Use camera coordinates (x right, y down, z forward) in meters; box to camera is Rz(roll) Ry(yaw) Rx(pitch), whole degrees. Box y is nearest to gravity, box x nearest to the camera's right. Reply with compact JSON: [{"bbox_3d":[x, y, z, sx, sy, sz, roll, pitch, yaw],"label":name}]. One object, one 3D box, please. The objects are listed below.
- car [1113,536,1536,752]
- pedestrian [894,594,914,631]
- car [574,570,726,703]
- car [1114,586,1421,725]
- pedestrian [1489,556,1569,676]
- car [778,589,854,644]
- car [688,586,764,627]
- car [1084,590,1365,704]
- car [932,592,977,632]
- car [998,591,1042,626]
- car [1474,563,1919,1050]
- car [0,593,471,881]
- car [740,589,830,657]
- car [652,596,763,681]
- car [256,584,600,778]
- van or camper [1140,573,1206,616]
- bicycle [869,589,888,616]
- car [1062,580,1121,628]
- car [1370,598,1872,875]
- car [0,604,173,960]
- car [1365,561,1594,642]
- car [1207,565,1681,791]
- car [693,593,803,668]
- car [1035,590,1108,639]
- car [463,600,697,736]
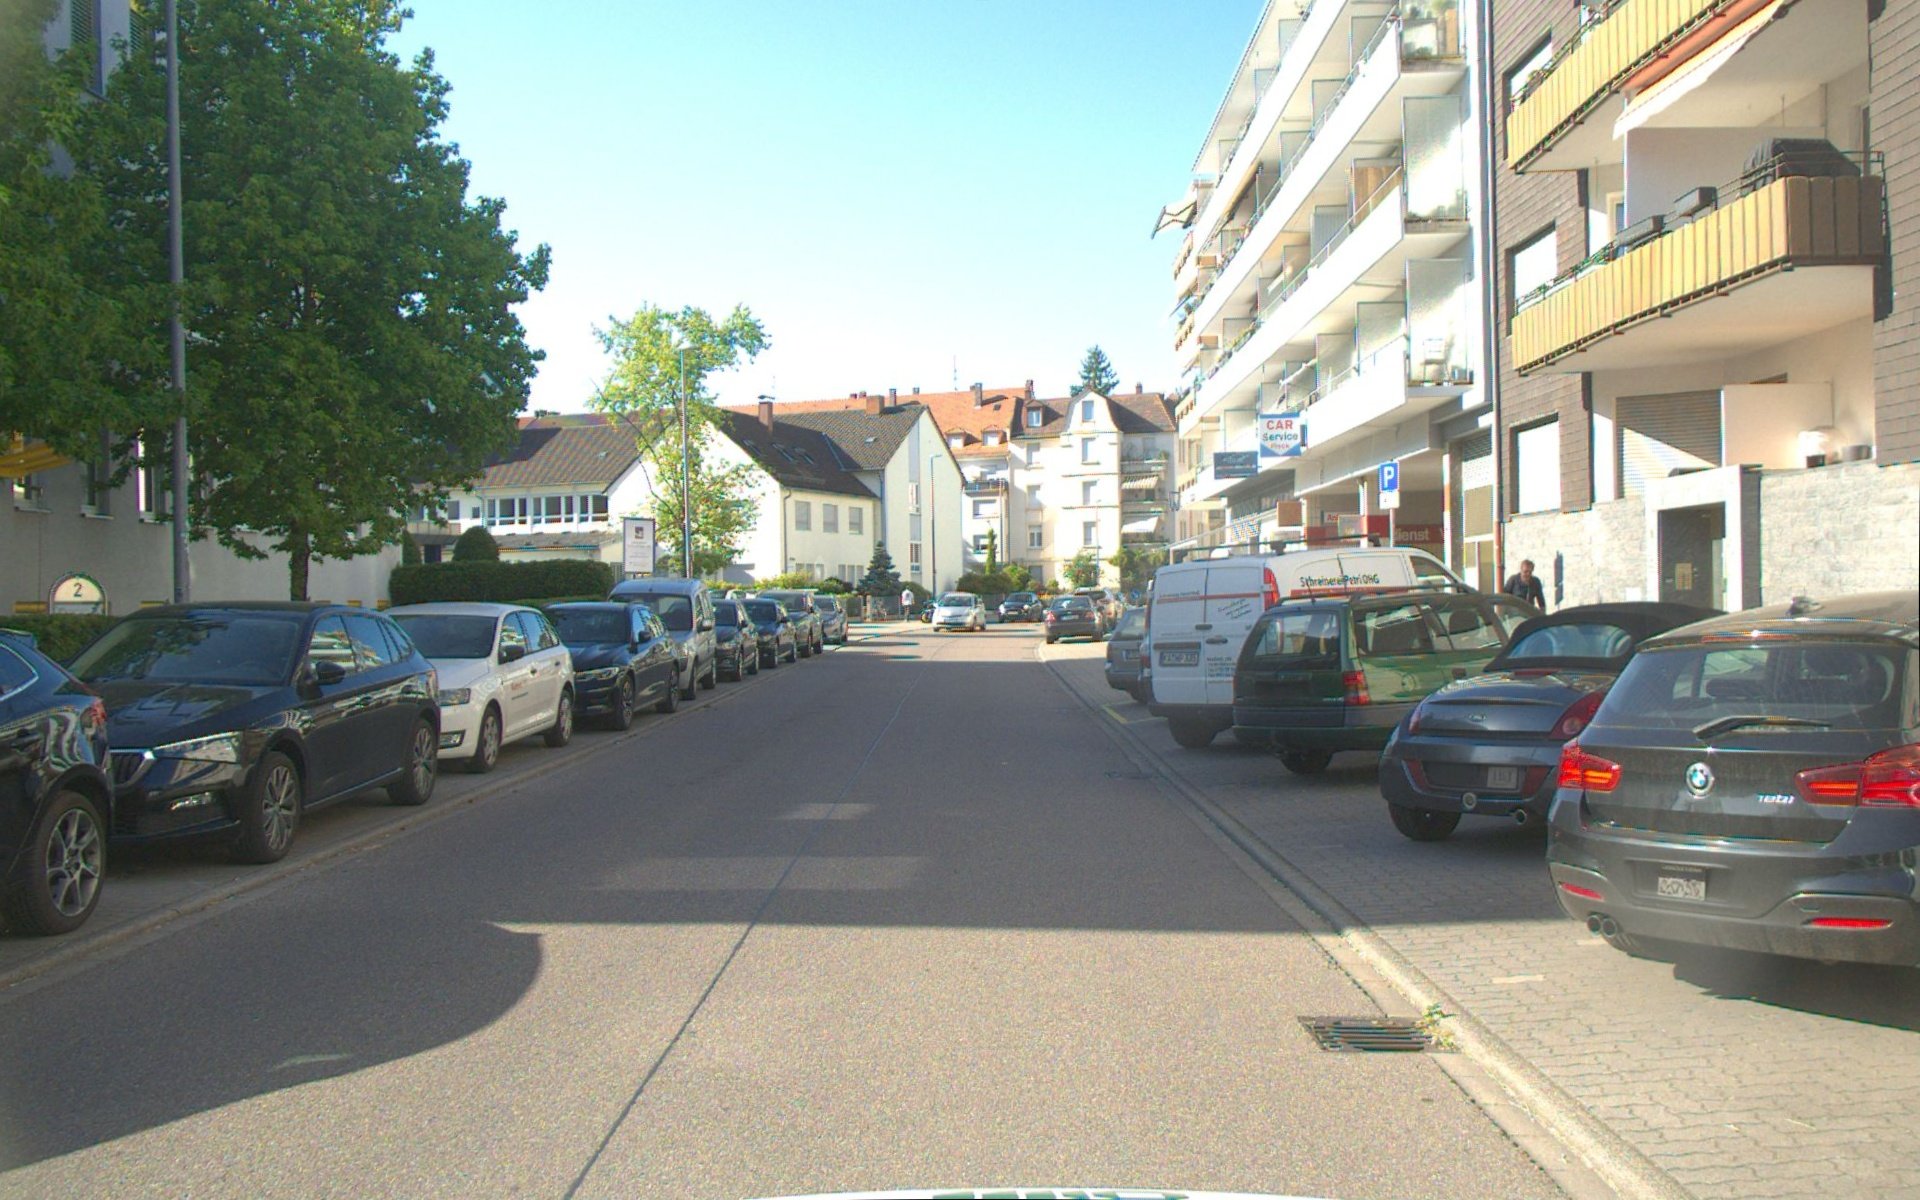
[{"bbox_3d":[3.953,0.410,17.552,4.490,1.931,2.019,-3,-1,-41],"label":"car"},{"bbox_3d":[-2.697,0.582,79.130,0.668,1.733,0.824,-2,-2,22],"label":"pedestrian"},{"bbox_3d":[-4.734,0.500,25.803,1.653,1.871,4.340,-1,0,-2],"label":"car"},{"bbox_3d":[4.030,0.658,21.198,1.727,1.539,4.296,-3,-1,45],"label":"car"},{"bbox_3d":[7.942,0.223,23.110,0.815,1.621,0.889,-2,-1,5],"label":"pedestrian"},{"bbox_3d":[-4.450,0.475,51.878,1.953,1.561,4.918,-1,1,0],"label":"car"},{"bbox_3d":[-9.795,0.297,69.425,1.764,1.583,3.187,-2,-2,24],"label":"car"},{"bbox_3d":[4.062,0.666,24.882,4.609,1.491,1.664,-2,-1,-43],"label":"car"},{"bbox_3d":[-0.189,0.462,67.538,1.690,1.511,4.107,-1,0,2],"label":"car"},{"bbox_3d":[2.994,0.421,82.294,1.703,1.539,3.732,-3,-2,8],"label":"car"},{"bbox_3d":[4.271,0.649,7.009,4.121,1.523,1.801,-1,-2,-34],"label":"car"},{"bbox_3d":[-4.788,0.746,10.943,1.869,1.505,4.379,-1,0,-1],"label":"car"},{"bbox_3d":[-4.386,0.543,42.093,1.684,1.614,4.422,-1,0,2],"label":"car"},{"bbox_3d":[-4.622,0.668,30.721,1.566,1.466,3.998,0,0,-2],"label":"car"},{"bbox_3d":[-4.853,0.682,15.844,1.869,1.557,4.623,-1,0,-1],"label":"car"},{"bbox_3d":[10.632,-0.305,82.199,1.979,1.981,4.702,-3,0,23],"label":"van or camper"},{"bbox_3d":[-4.006,0.142,81.360,0.446,1.272,1.929,-1,-2,12],"label":"bicycle"},{"bbox_3d":[5.147,0.202,64.264,1.778,1.682,4.563,-1,-2,10],"label":"car"},{"bbox_3d":[4.213,0.721,10.350,3.365,1.412,1.518,-1,0,-40],"label":"car"},{"bbox_3d":[-4.757,0.752,6.101,1.752,1.435,4.222,-1,0,-1],"label":"car"},{"bbox_3d":[11.183,0.043,35.818,4.301,1.539,1.979,-2,-1,0],"label":"car"},{"bbox_3d":[4.183,0.601,14.120,3.946,1.515,1.599,-4,-1,-32],"label":"car"},{"bbox_3d":[-4.558,0.618,36.149,1.690,1.490,4.440,-1,0,2],"label":"car"},{"bbox_3d":[3.628,0.458,52.894,1.929,1.476,5.007,-1,0,8],"label":"car"},{"bbox_3d":[-4.600,0.757,20.715,1.696,1.465,4.612,-1,0,2],"label":"car"}]
